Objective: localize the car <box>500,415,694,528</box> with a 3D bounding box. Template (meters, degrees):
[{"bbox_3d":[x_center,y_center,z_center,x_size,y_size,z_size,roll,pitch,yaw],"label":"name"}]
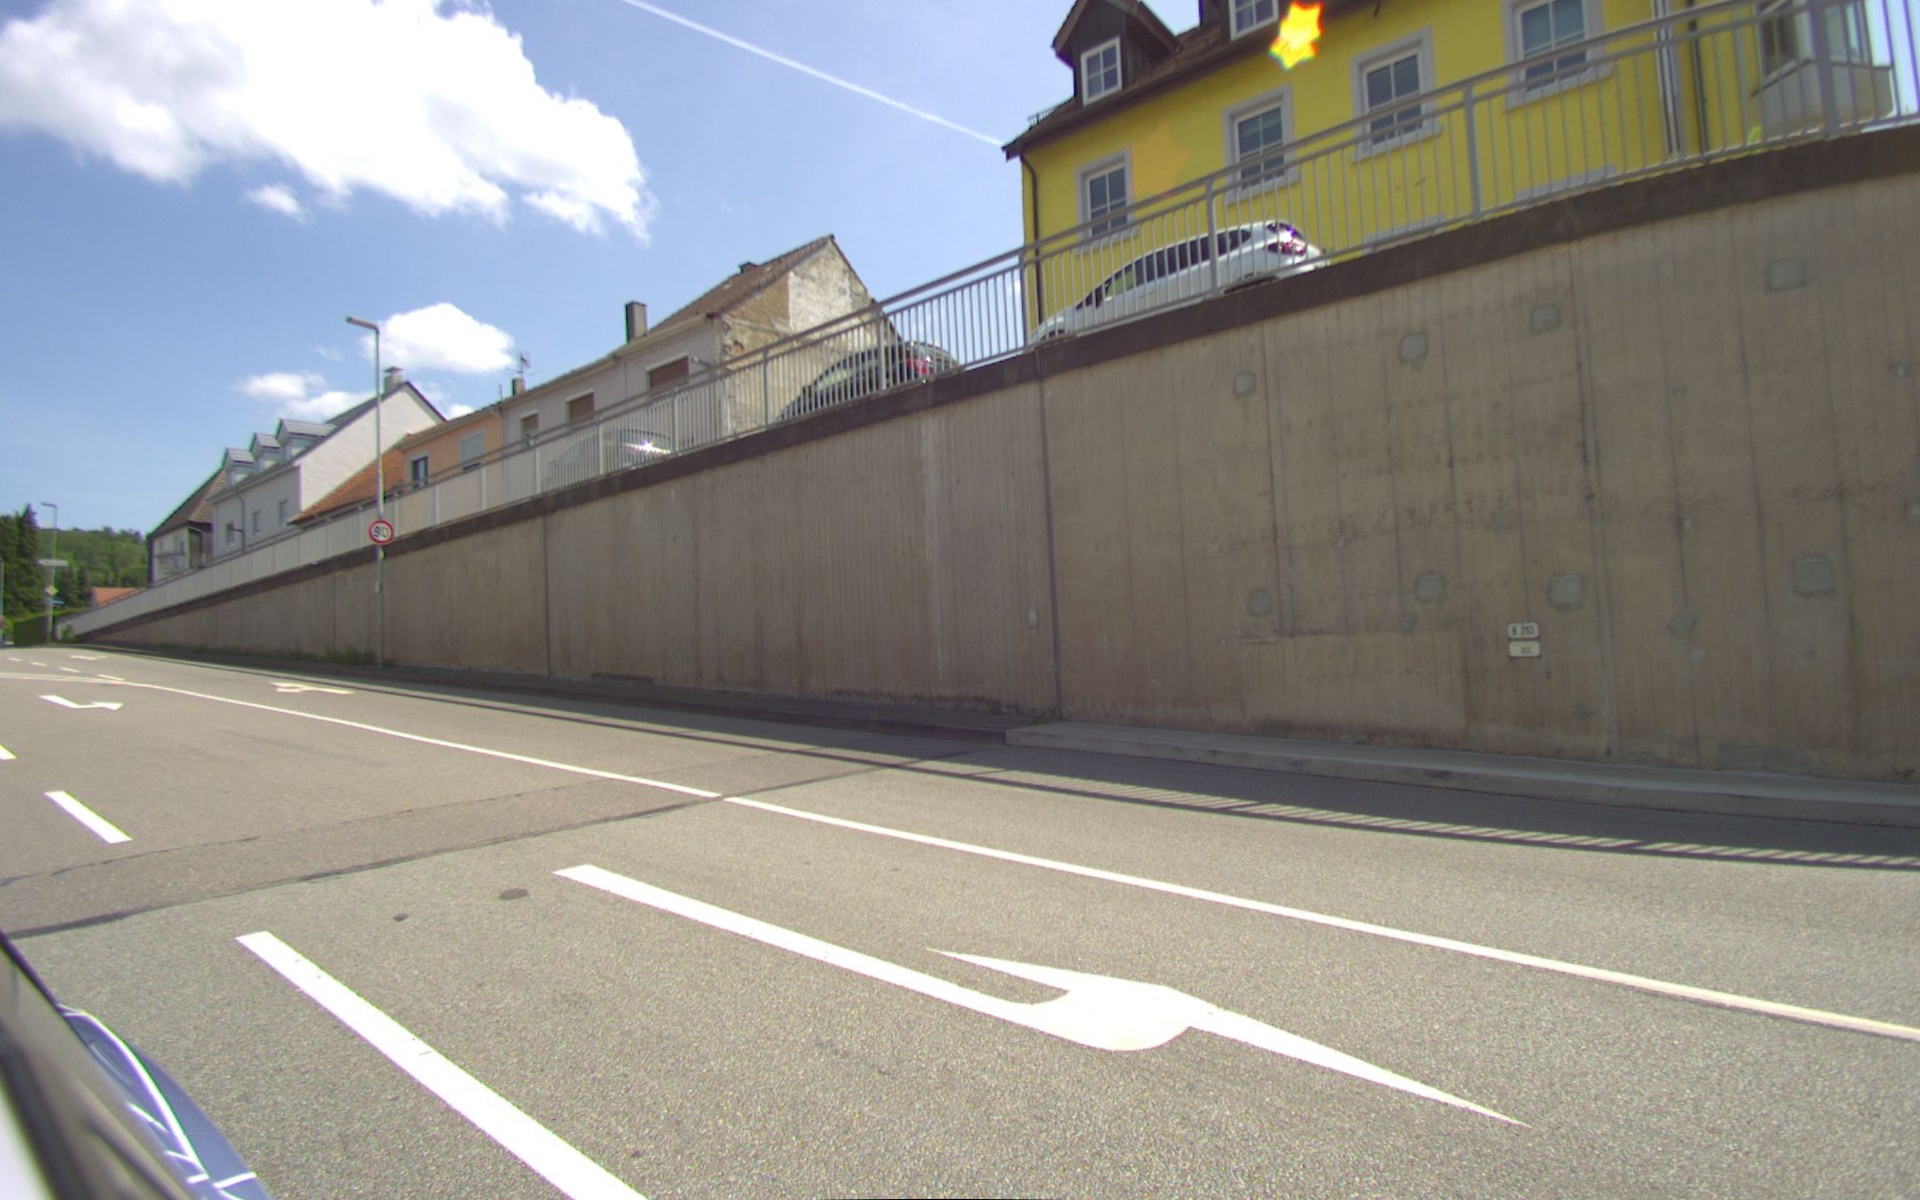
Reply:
[{"bbox_3d":[-7.578,-2.547,20.945,4.388,1.536,1.780,-4,-3,39],"label":"car"}]

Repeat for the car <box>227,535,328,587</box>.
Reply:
[{"bbox_3d":[-24.178,-1.315,35.799,4.388,1.416,1.768,-4,-3,39],"label":"car"}]

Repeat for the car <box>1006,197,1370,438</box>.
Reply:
[{"bbox_3d":[2.762,-3.311,12.708,3.996,1.681,1.883,-4,-3,39],"label":"car"}]

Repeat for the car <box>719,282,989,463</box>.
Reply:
[{"bbox_3d":[-1.778,-3.433,16.095,4.218,1.718,1.804,-4,-3,39],"label":"car"}]
